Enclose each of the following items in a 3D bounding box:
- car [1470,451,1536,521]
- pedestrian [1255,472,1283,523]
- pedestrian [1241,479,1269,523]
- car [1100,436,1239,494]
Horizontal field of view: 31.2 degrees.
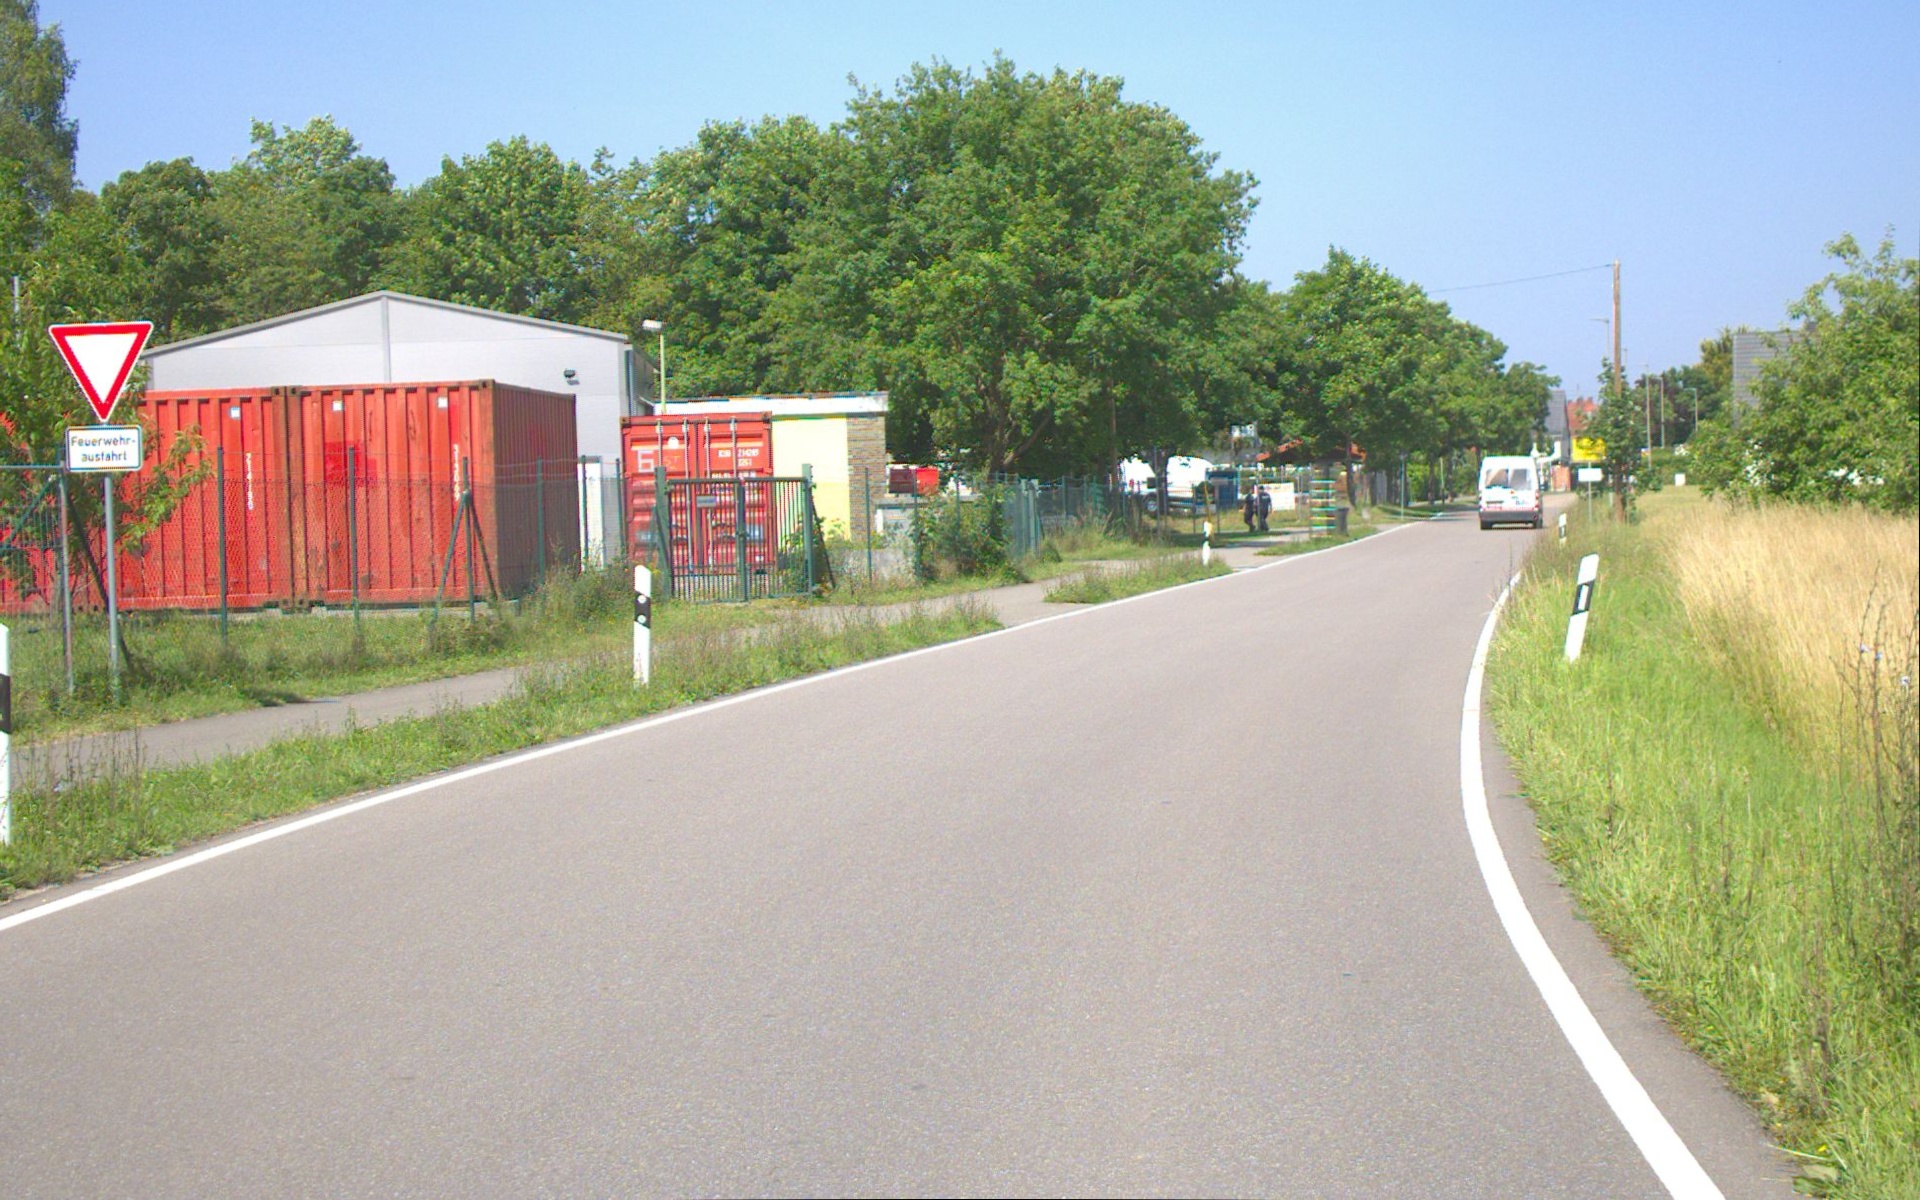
[{"bbox_3d":[18.562,-3.907,117.393,1.994,2.258,4.724,-2,2,11],"label":"car"},{"bbox_3d":[11.234,-3.734,124.955,0.721,1.796,0.709,-1,2,33],"label":"pedestrian"},{"bbox_3d":[10.668,-3.569,124.411,0.678,1.560,0.717,-1,2,33],"label":"pedestrian"},{"bbox_3d":[8.925,-5.734,146.039,5.594,2.258,2.000,-3,2,-28],"label":"car"}]
